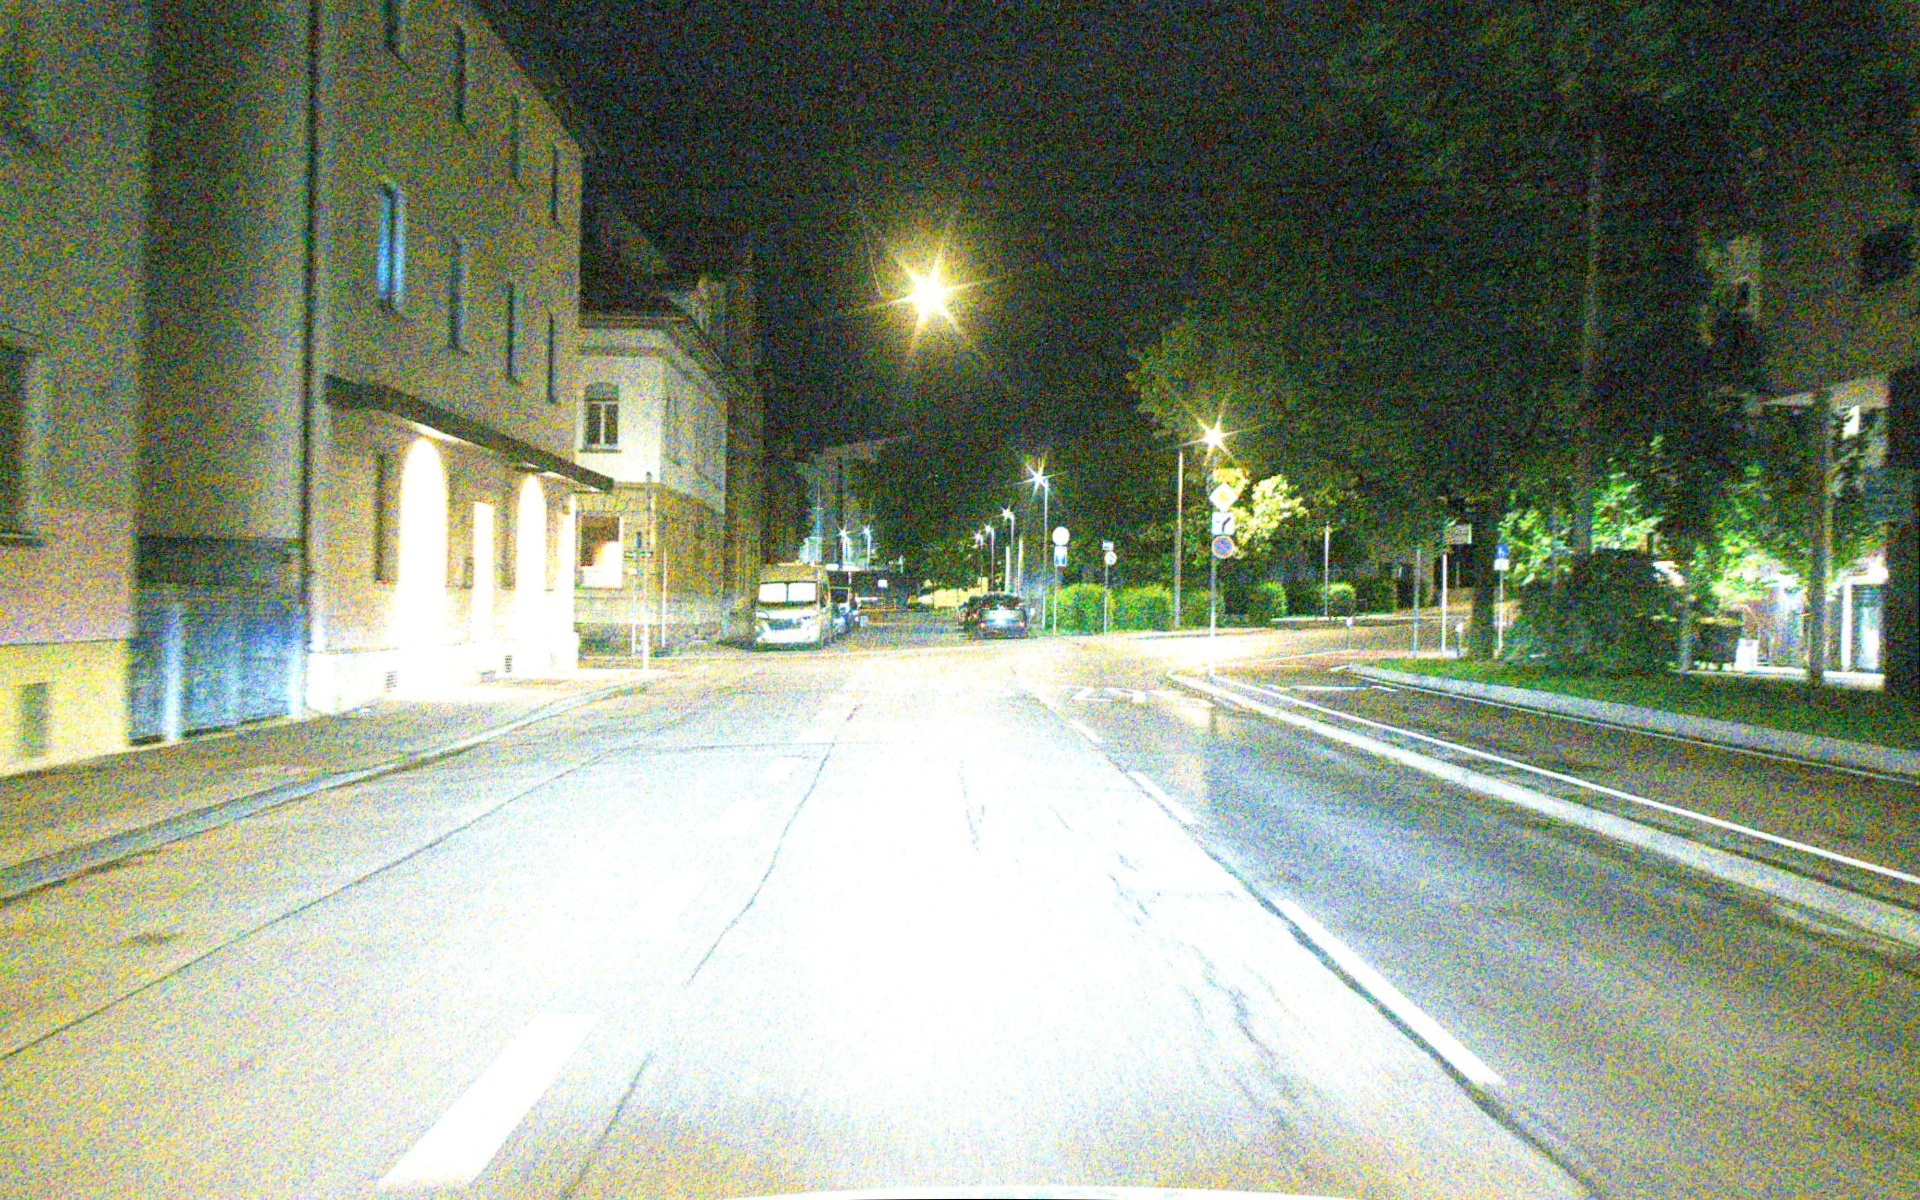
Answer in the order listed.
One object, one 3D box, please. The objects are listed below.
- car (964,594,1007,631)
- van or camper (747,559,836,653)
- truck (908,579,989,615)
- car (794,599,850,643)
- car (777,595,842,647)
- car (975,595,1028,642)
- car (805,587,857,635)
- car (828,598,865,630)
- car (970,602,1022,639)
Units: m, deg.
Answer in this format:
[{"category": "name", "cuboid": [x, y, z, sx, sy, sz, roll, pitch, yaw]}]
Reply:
[{"category": "car", "cuboid": [1.269, 0.643, 83.445, 1.998, 1.724, 4.880, -2, 0, -1]}, {"category": "van or camper", "cuboid": [-5.012, 0.196, 49.953, 2.115, 2.580, 6.224, -2, 0, -2]}, {"category": "truck", "cuboid": [-0.987, -0.262, 138.001, 6.642, 2.894, 1.998, 1, 0, -4]}, {"category": "car", "cuboid": [-5.142, 0.746, 61.116, 1.804, 1.533, 4.733, 0, 0, -8]}, {"category": "car", "cuboid": [-5.000, 0.684, 55.372, 1.853, 1.618, 4.373, -1, 0, -1]}, {"category": "car", "cuboid": [1.492, 0.677, 60.534, 1.845, 1.631, 4.107, -1, 0, 1]}, {"category": "car", "cuboid": [-5.509, 0.458, 71.000, 1.953, 1.989, 4.804, 0, 0, -1]}, {"category": "car", "cuboid": [-5.694, 0.696, 83.426, 1.670, 1.536, 4.098, 1, -1, -2]}, {"category": "car", "cuboid": [1.385, 0.814, 65.676, 1.923, 1.407, 3.999, 0, -1, -1]}]
